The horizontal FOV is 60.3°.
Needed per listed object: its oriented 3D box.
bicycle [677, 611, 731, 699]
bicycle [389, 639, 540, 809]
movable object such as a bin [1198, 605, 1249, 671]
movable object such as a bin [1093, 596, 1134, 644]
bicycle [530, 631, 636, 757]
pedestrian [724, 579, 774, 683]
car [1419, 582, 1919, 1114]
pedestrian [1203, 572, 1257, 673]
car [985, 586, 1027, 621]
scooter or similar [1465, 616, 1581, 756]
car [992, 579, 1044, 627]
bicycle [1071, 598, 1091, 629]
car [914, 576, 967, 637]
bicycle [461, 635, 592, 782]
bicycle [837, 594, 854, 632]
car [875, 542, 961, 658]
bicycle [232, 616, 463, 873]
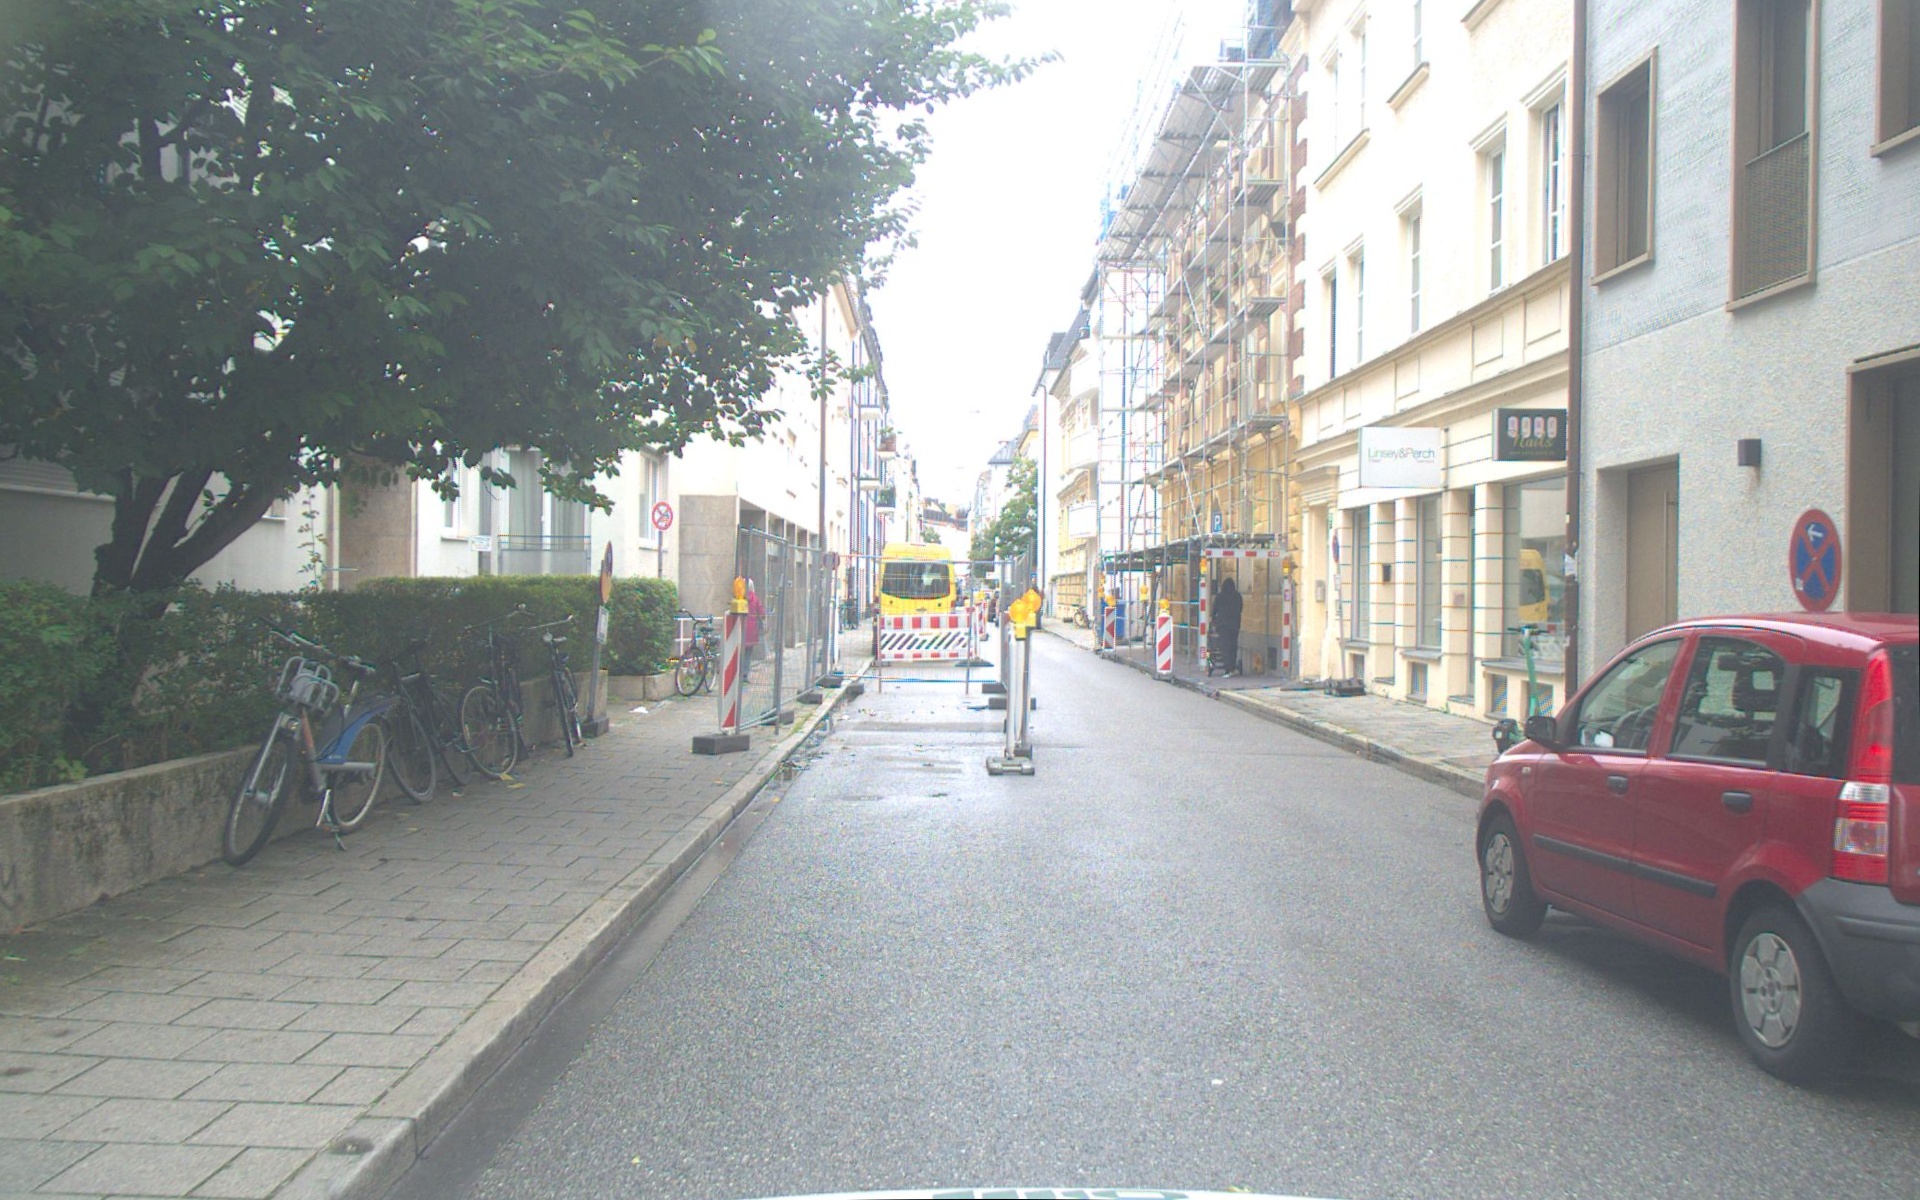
[{"bbox_3d":[-3.455,0.725,22.423,0.369,1.081,1.597,6,0,0],"label":"bicycle"},{"bbox_3d":[-3.274,0.785,11.058,0.427,0.995,1.699,3,-1,0],"label":"bicycle"},{"bbox_3d":[4.946,0.705,31.088,0.715,1.160,0.988,-4,0,-2],"label":"movable object such as a bin"},{"bbox_3d":[4.700,0.601,50.659,1.063,1.369,1.319,-2,0,11],"label":"movable object such as a bin"},{"bbox_3d":[-3.272,0.788,14.485,0.434,0.995,1.816,3,-1,0],"label":"bicycle"},{"bbox_3d":[-3.212,0.461,25.240,0.625,1.558,0.747,-1,0,1],"label":"pedestrian"},{"bbox_3d":[3.338,0.752,6.902,1.735,1.550,4.067,2,0,1],"label":"car"},{"bbox_3d":[4.961,0.401,30.446,0.715,1.783,0.988,-3,0,-2],"label":"pedestrian"},{"bbox_3d":[2.258,0.153,82.831,1.856,1.670,4.320,0,0,-2],"label":"car"},{"bbox_3d":[5.385,0.794,15.776,0.486,1.204,1.600,-2,0,39],"label":"scooter or similar"},{"bbox_3d":[2.528,0.119,72.999,1.953,1.965,4.658,2,0,-2],"label":"car"},{"bbox_3d":[4.840,0.546,66.177,0.625,1.173,1.915,-2,1,0],"label":"bicycle"},{"bbox_3d":[-0.676,0.215,56.062,1.692,1.930,5.507,-1,0,-1],"label":"car"},{"bbox_3d":[-3.273,0.785,12.619,0.434,0.995,1.853,3,-1,0],"label":"bicycle"},{"bbox_3d":[-3.872,0.433,55.814,0.374,1.209,2.132,2,1,-8],"label":"bicycle"},{"bbox_3d":[-1.041,-0.019,40.907,1.953,2.624,6.735,0,0,-2],"label":"car"},{"bbox_3d":[-3.123,0.685,8.595,0.478,1.171,1.699,3,-1,0],"label":"bicycle"}]
